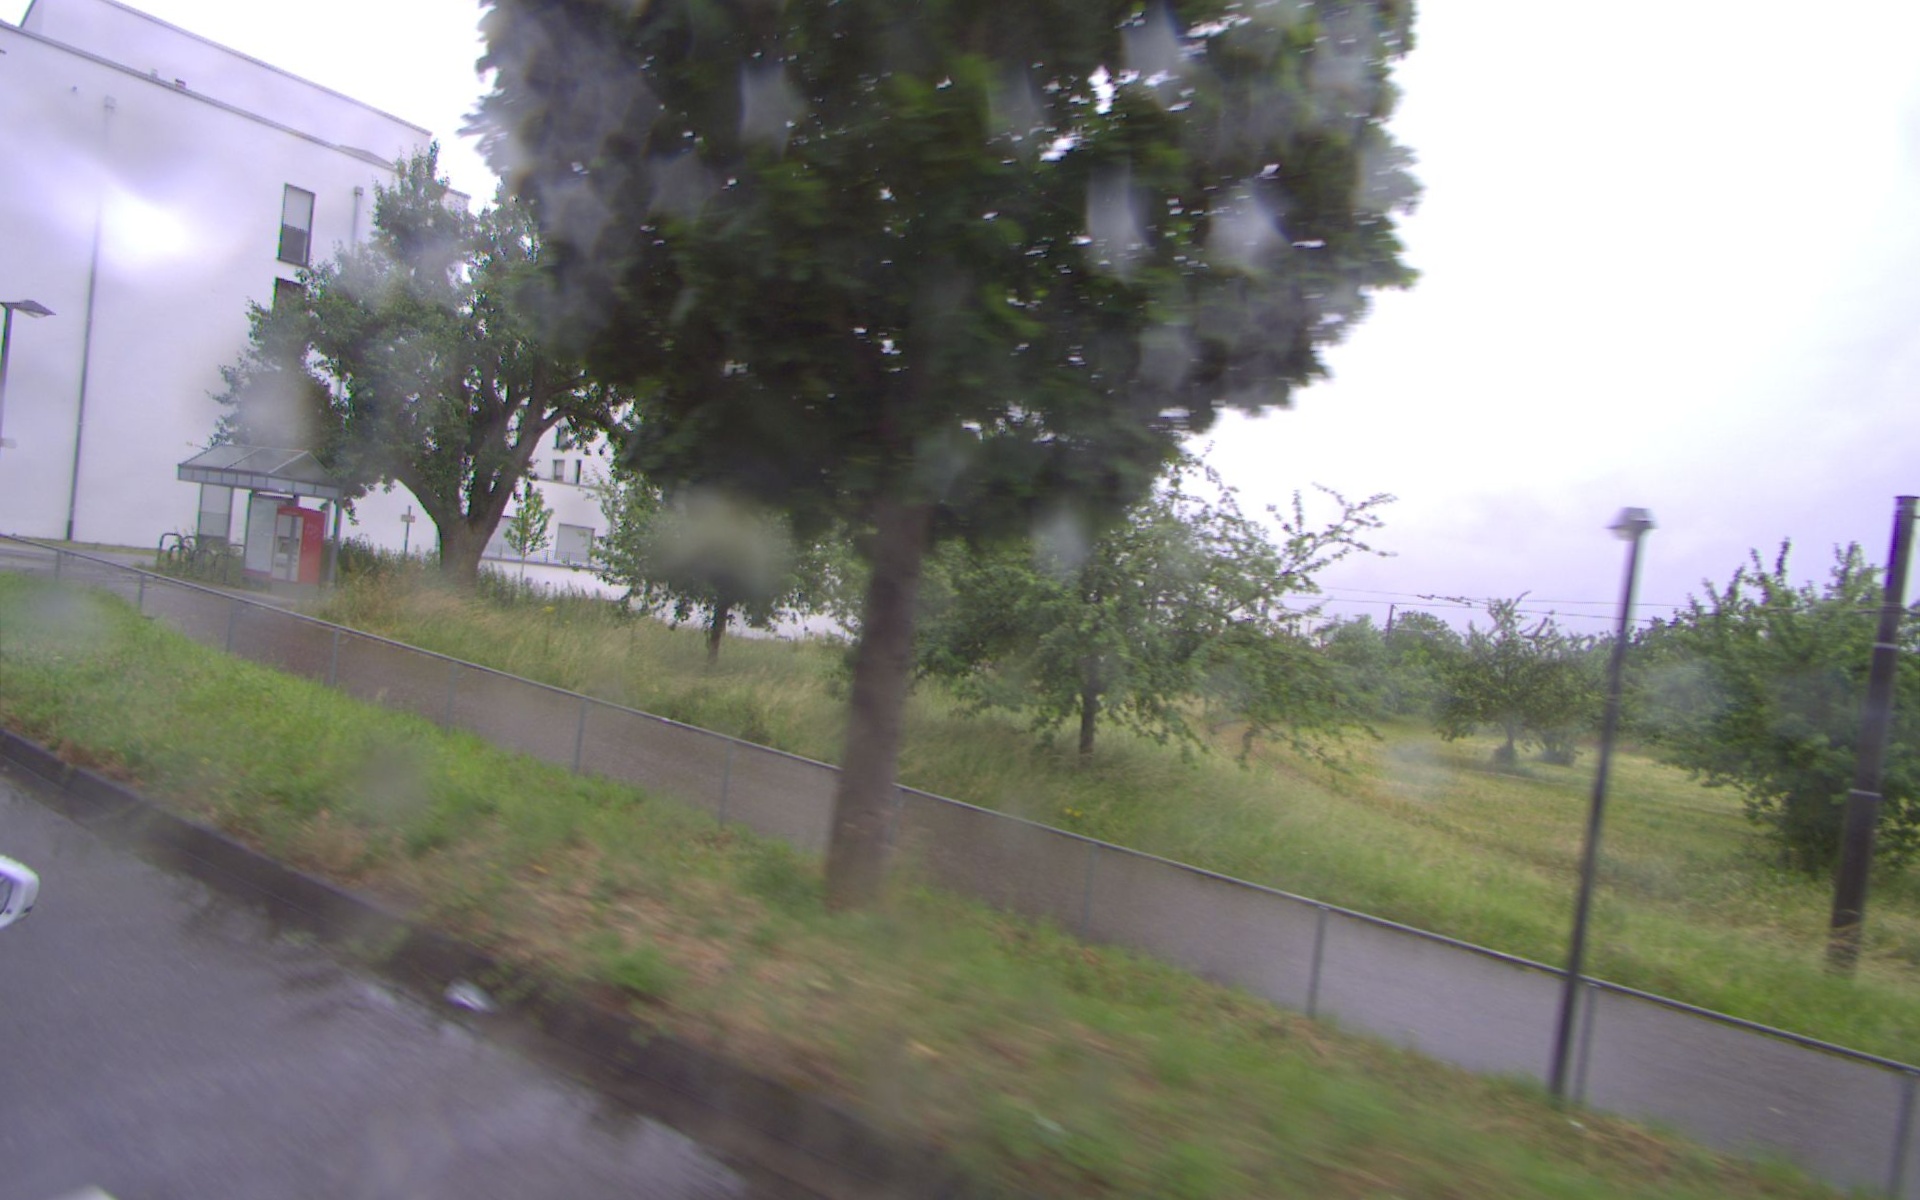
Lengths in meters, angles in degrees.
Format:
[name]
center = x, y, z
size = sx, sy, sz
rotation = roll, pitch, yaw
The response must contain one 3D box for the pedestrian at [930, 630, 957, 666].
[pedestrian]
center = -0.884, 2.622, 55.032
size = 0.880, 1.806, 0.886
rotation = 9, 2, 37
